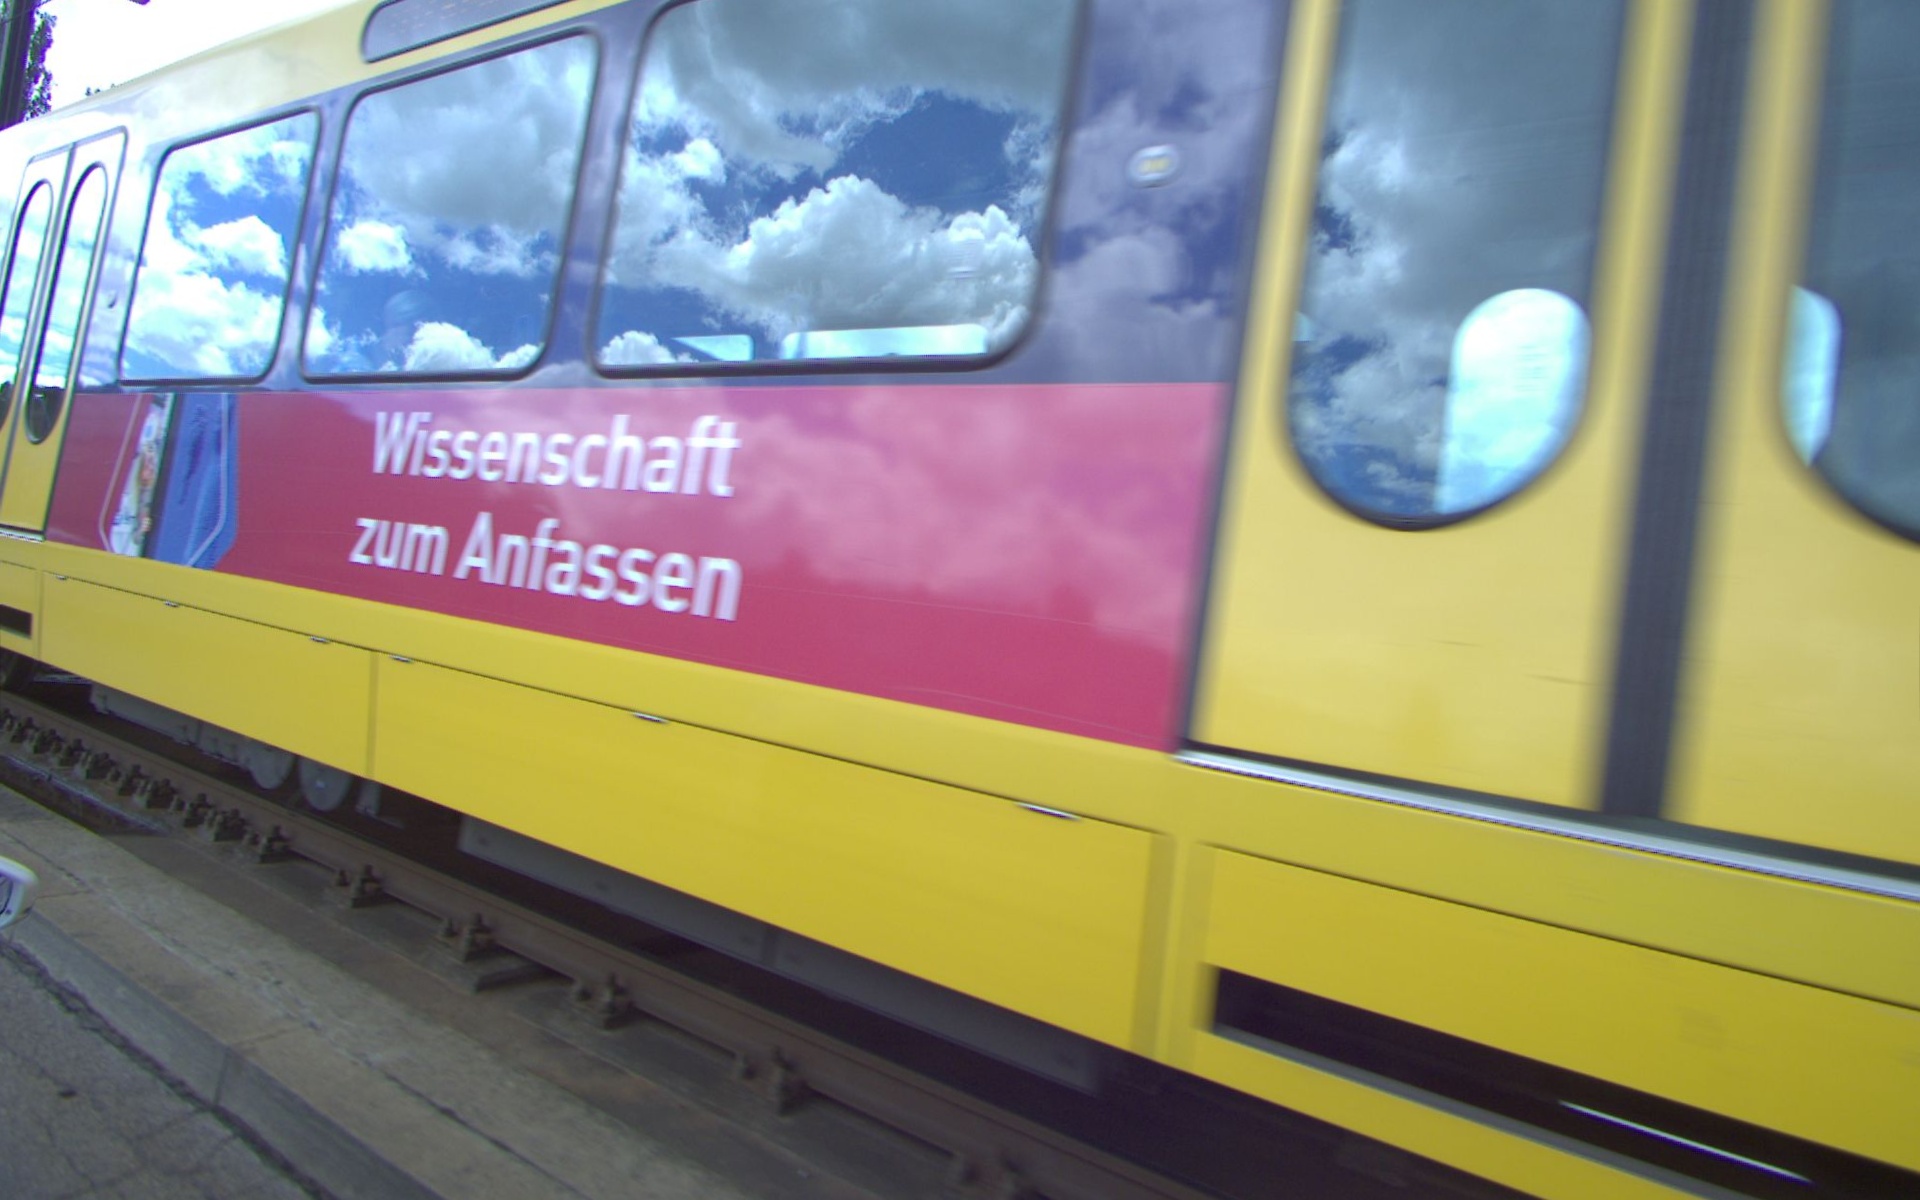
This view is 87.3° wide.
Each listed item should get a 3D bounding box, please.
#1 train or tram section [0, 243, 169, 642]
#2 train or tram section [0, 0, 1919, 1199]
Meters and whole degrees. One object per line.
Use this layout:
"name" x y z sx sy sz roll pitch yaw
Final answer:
"train or tram section" -17.521 -2.392 14.375 19.559 3.701 2.788 6 0 31
"train or tram section" -1.486 -0.459 4.534 18.353 3.624 2.834 7 0 31
